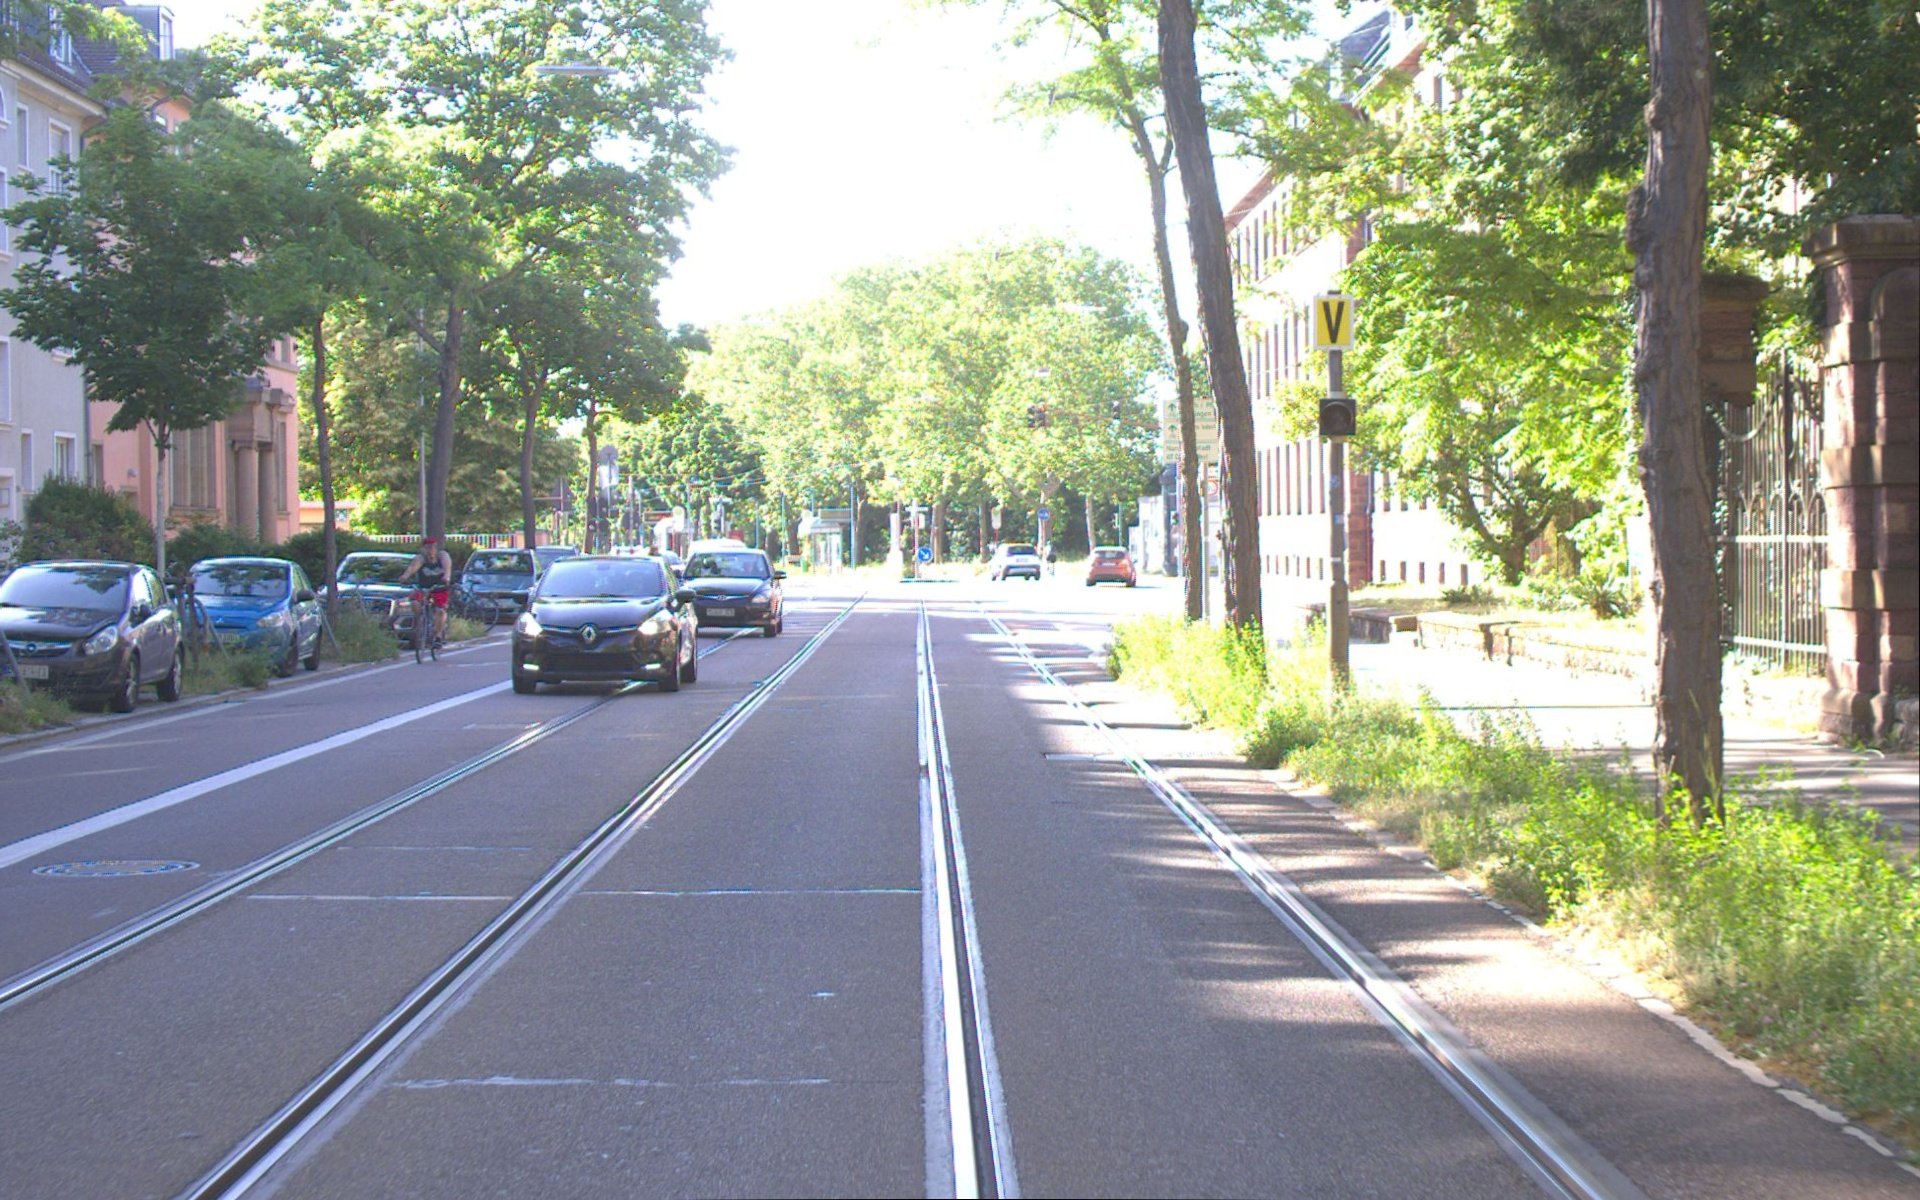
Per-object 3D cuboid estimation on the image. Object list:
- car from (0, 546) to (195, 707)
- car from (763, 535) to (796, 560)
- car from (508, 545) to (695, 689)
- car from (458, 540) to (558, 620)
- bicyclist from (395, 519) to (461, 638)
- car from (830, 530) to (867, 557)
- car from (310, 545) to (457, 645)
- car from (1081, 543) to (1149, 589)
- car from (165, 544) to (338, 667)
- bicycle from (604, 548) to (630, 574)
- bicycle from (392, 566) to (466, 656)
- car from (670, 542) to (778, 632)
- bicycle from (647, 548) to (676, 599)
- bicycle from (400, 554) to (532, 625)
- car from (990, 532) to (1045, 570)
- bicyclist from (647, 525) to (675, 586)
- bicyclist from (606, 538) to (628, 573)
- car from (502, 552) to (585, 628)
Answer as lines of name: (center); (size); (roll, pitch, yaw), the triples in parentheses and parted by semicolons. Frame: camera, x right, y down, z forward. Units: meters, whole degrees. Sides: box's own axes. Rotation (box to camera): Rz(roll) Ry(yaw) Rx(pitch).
car: (-9.023, 0.223, 35.003); (1.687, 1.480, 3.760); (2, 1, -2)
car: (-11.746, -3.411, 223.797); (1.942, 1.605, 4.001); (0, 1, -6)
car: (-3.781, 0.139, 36.833); (1.699, 1.434, 4.072); (0, 1, -2)
car: (-9.511, -0.448, 72.553); (1.745, 1.564, 4.070); (2, 1, -3)
bicyclist: (-7.393, -0.308, 47.807); (0.709, 1.601, 0.865); (-3, 1, -1)
car: (-6.757, -3.432, 208.324); (1.942, 1.605, 4.001); (0, 1, -6)
car: (-9.361, -0.115, 56.084); (1.745, 1.485, 4.324); (2, 1, -2)
car: (5.734, -1.253, 126.822); (1.840, 1.649, 3.577); (0, 1, 14)
car: (-9.104, 0.039, 44.423); (1.560, 1.452, 3.931); (2, 1, -3)
bicycle: (-14.603, -1.677, 146.304); (0.749, 1.083, 2.178); (-1, 1, -16)
bicycle: (-7.369, 0.146, 47.810); (0.694, 1.173, 1.913); (-3, 1, -1)
car: (-4.008, -0.247, 58.908); (1.699, 1.466, 4.072); (0, 1, -2)
bicycle: (-7.283, -0.661, 83.987); (0.557, 1.194, 2.292); (-4, 1, -3)
bicycle: (-9.047, -0.196, 62.994); (2.285, 1.194, 0.559); (2, 2, 6)
car: (2.478, -2.117, 148.833); (1.942, 1.605, 4.001); (0, 1, -6)
bicyclist: (-7.312, -1.085, 84.100); (0.557, 1.451, 0.869); (-4, 1, -3)
bicyclist: (-14.596, -1.901, 146.257); (0.749, 1.499, 0.964); (-1, 1, -16)
car: (-9.765, -0.253, 80.792); (1.745, 1.655, 4.392); (2, 1, -5)
